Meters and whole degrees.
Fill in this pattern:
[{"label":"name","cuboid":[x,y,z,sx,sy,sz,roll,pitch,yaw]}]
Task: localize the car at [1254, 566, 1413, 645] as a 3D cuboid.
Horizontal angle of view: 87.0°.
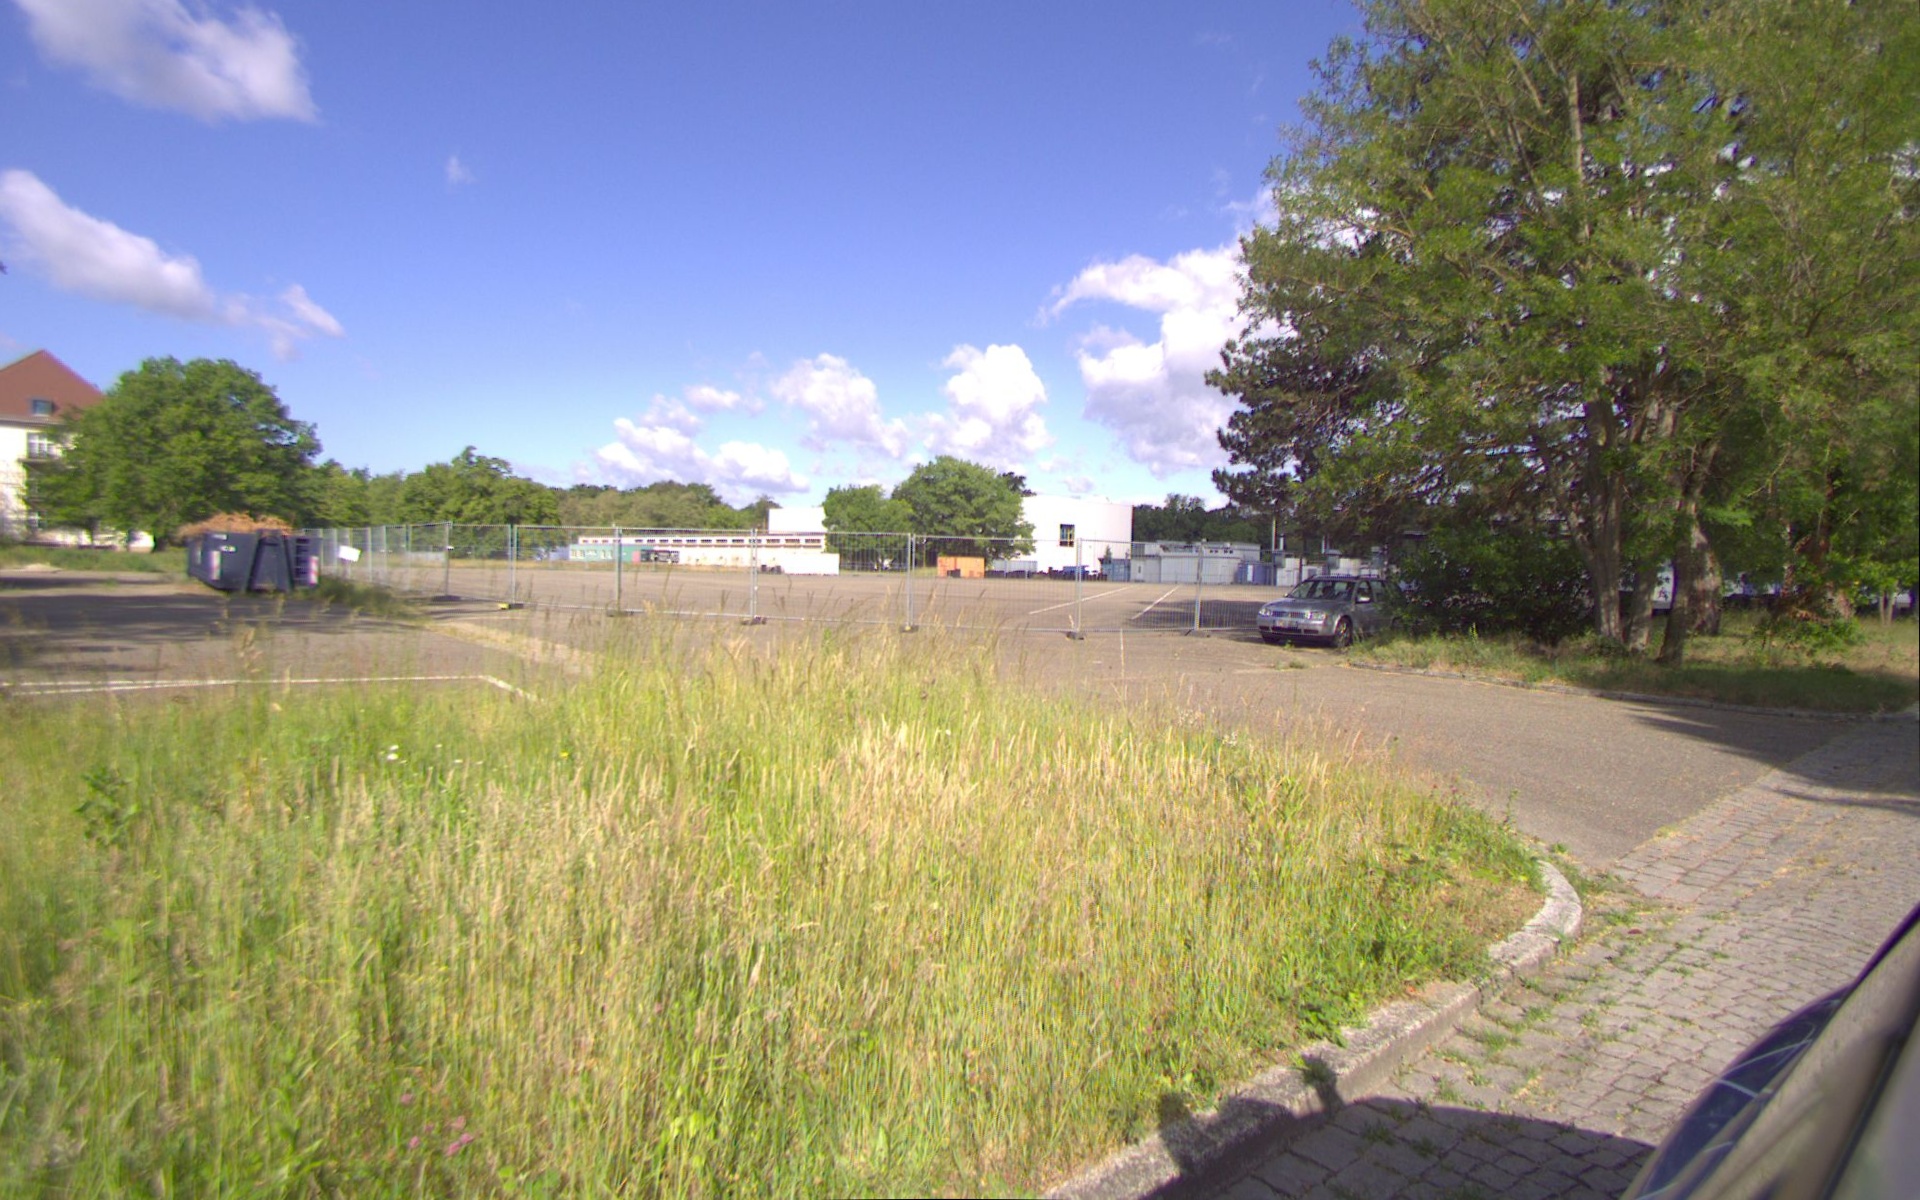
[{"label":"car","cuboid":[7.898,0.074,21.214,3.921,1.461,1.576,0,3,-44]}]
